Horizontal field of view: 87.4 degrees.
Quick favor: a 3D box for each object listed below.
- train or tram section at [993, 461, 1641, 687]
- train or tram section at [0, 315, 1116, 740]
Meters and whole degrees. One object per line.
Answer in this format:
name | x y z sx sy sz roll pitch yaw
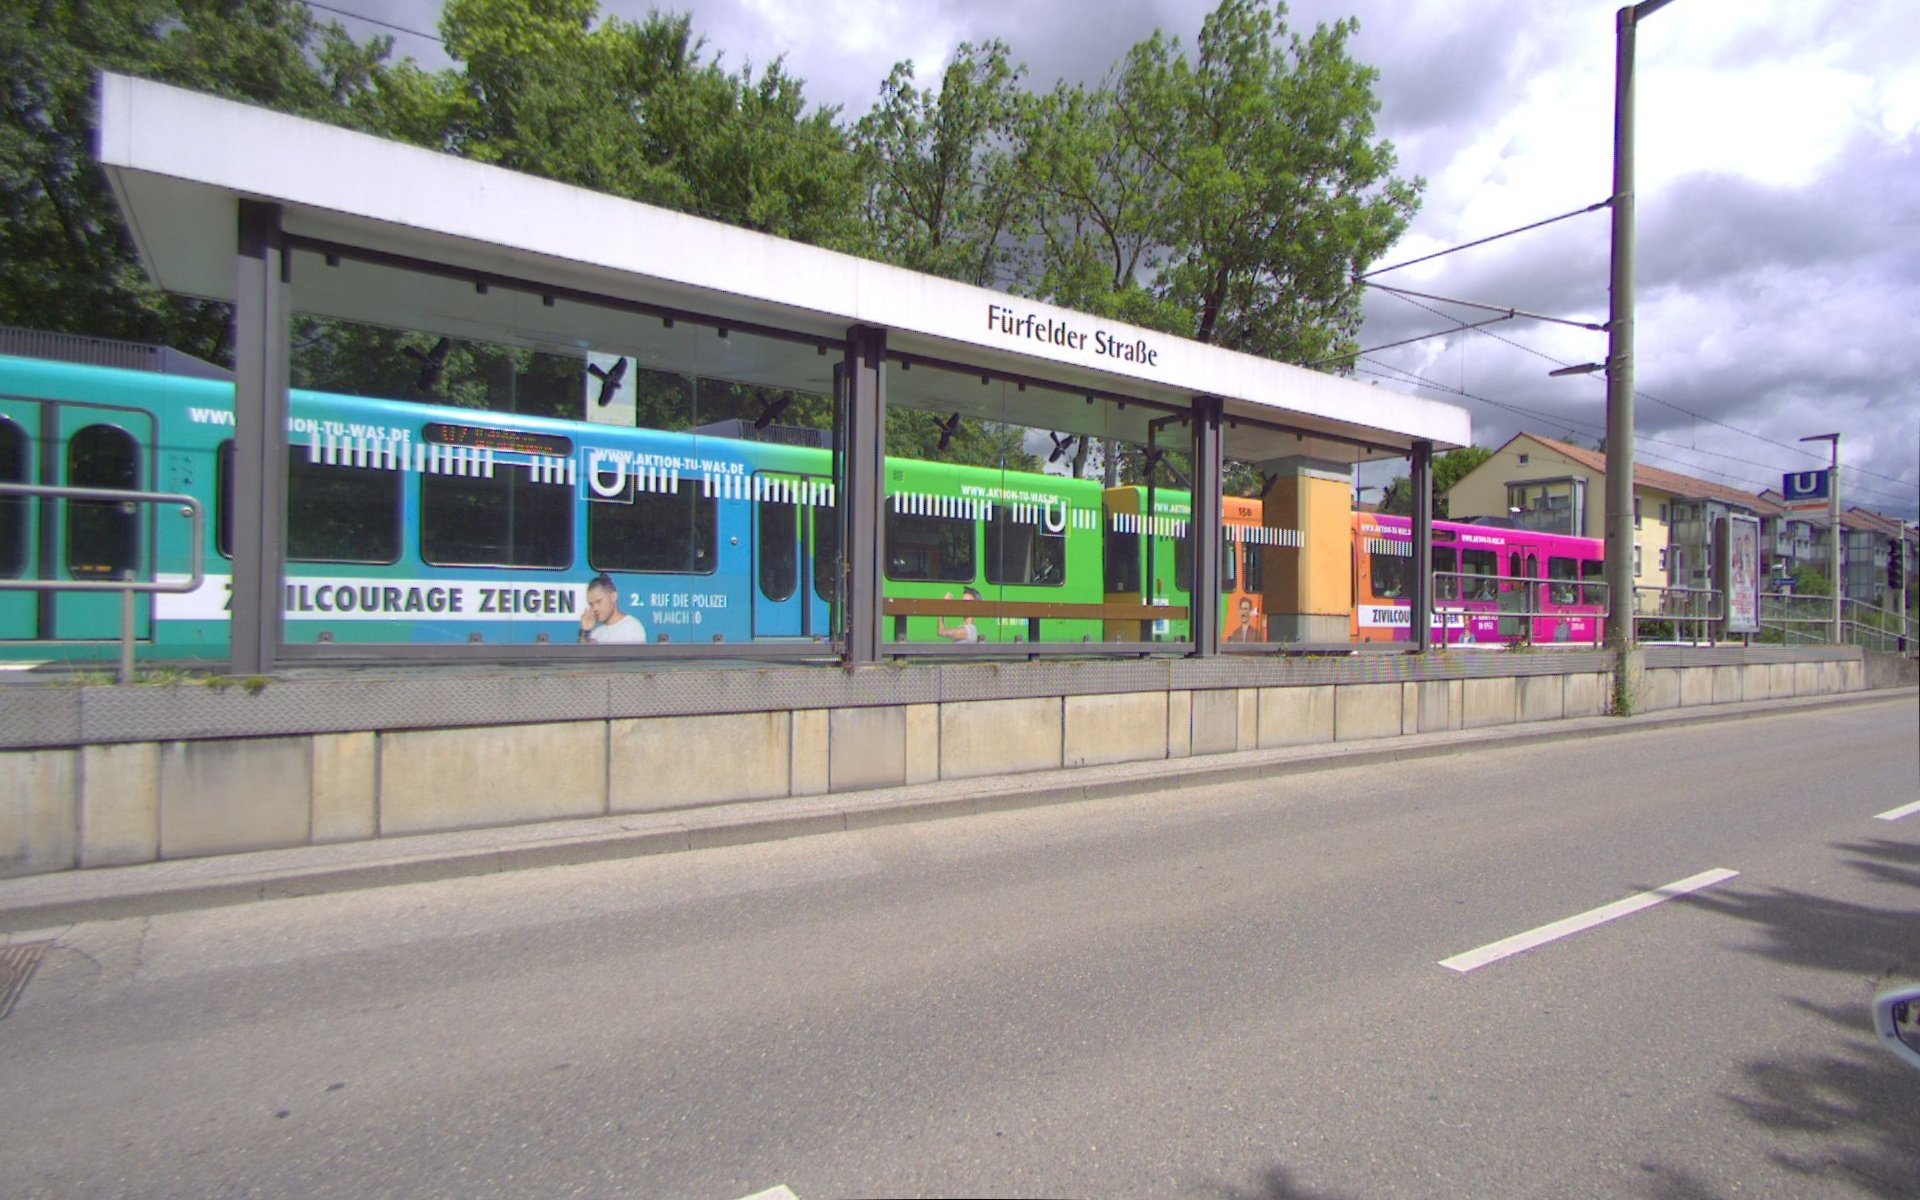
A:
train or tram section | 9.238 -0.287 22.253 18.896 3.511 3.088 1 1 -35
train or tram section | -6.282 -0.579 11.365 19.004 3.511 3.088 1 1 -35
